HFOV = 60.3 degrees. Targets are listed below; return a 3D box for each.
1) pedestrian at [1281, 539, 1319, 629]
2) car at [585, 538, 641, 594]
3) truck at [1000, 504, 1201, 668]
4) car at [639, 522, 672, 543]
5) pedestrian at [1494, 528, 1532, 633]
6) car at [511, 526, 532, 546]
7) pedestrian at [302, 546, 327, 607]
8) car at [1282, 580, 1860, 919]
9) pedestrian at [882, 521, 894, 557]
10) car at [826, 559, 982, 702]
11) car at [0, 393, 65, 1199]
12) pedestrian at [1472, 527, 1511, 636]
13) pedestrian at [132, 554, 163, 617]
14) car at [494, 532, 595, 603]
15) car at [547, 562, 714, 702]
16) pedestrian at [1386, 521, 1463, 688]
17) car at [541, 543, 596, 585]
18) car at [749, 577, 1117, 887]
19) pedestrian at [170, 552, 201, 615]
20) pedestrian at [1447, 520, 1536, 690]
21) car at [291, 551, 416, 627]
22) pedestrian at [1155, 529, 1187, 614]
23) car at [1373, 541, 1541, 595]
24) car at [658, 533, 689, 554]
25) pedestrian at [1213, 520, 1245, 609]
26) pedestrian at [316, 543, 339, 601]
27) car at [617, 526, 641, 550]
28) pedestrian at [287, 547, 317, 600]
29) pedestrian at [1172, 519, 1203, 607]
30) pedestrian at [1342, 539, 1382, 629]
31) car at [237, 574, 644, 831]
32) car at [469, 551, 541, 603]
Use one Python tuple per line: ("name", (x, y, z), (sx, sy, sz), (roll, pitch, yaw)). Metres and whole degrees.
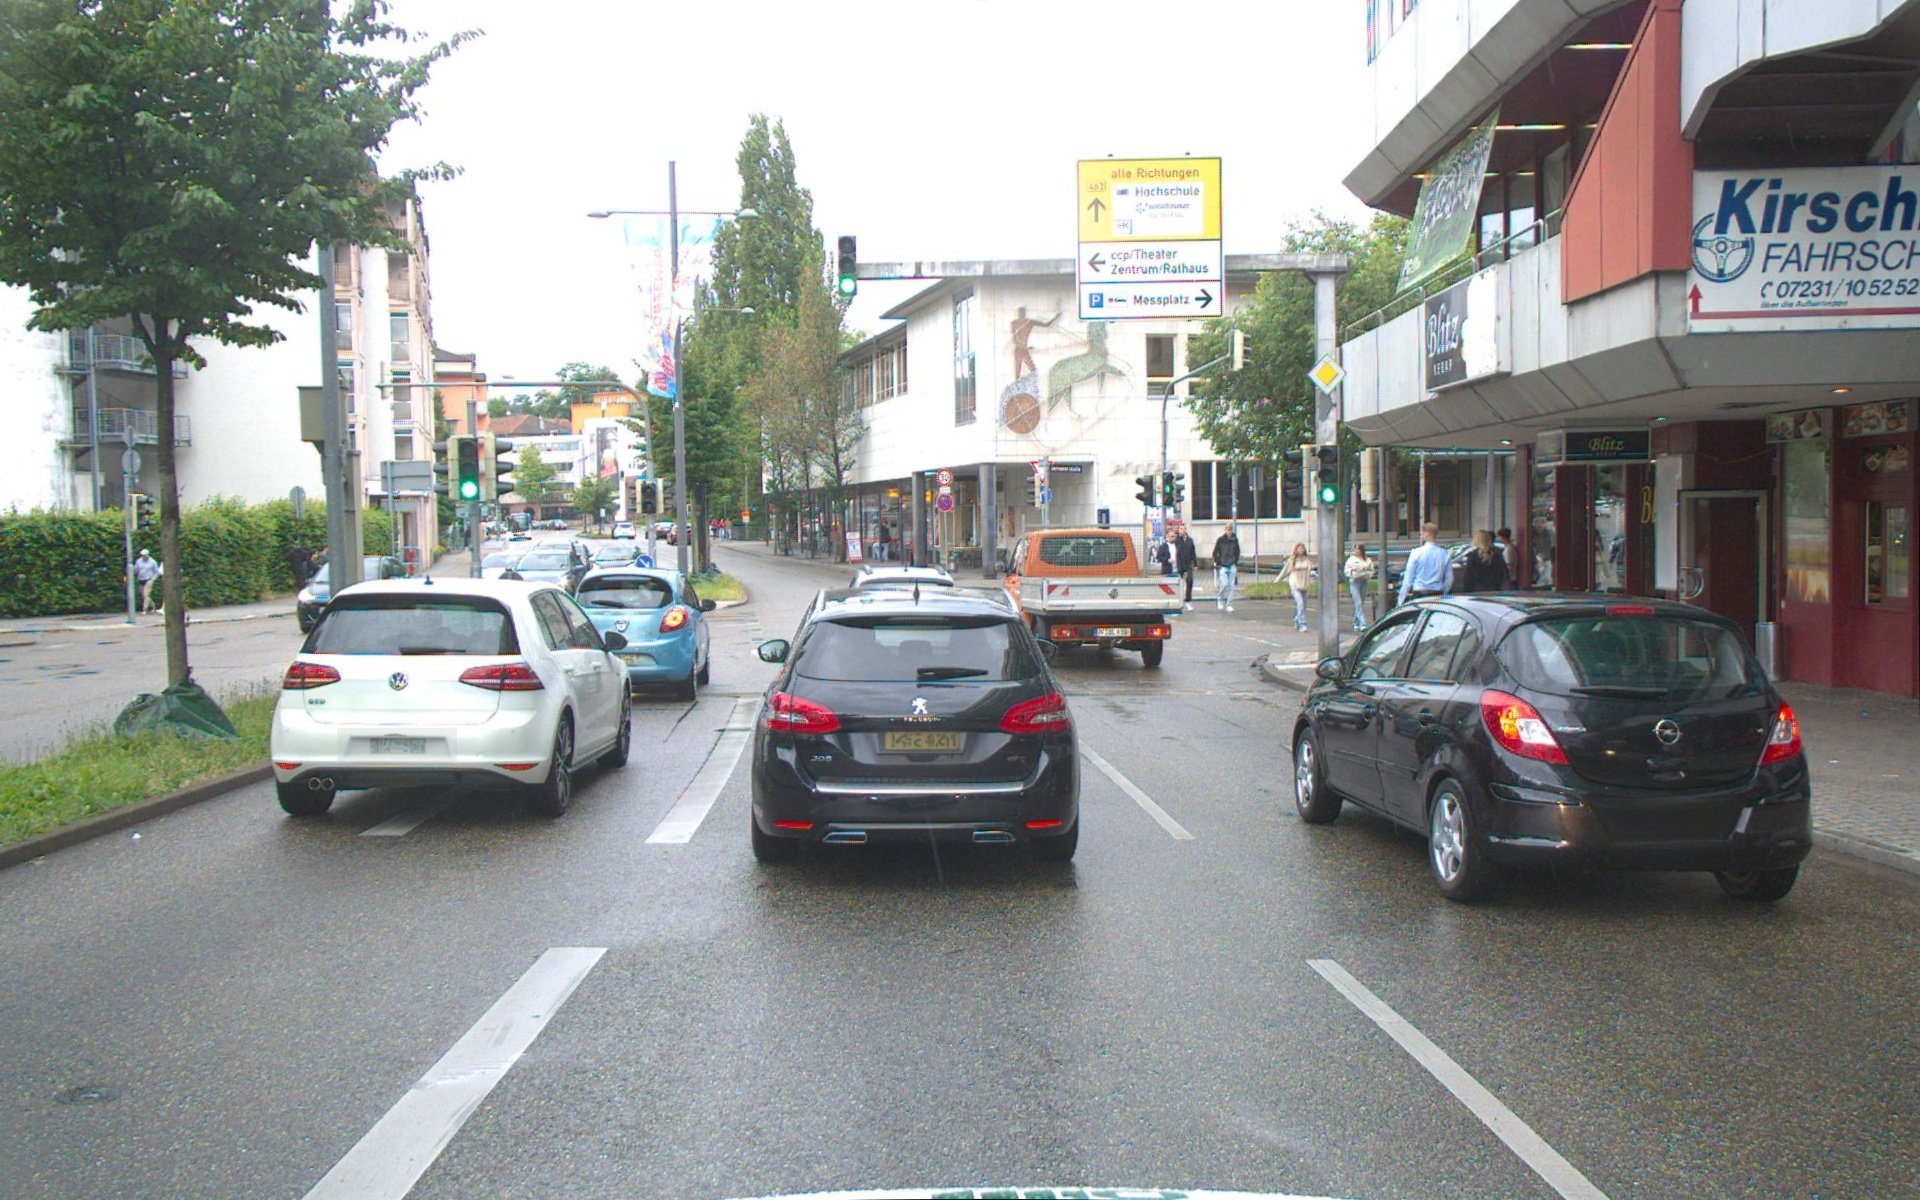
("pedestrian", (6.453, -0.292, 31.434), (0.623, 1.688, 0.734), (1, -1, 6))
("car", (-11.258, -1.058, 53.848), (1.713, 1.669, 3.989), (1, -1, -11))
("truck", (1.983, -0.253, 24.976), (2.135, 2.210, 5.015), (1, 2, -6))
("car", (-26.145, -5.781, 141.864), (1.703, 1.516, 4.696), (1, -1, -24))
("pedestrian", (8.925, -0.303, 26.707), (0.388, 1.668, 0.504), (-1, -1, 0))
("car", (-50.889, -7.375, 191.875), (1.964, 2.049, 3.976), (1, -1, -20))
("pedestrian", (-19.365, -0.696, 49.622), (0.529, 1.778, 0.746), (1, -1, -9))
("car", (3.072, 0.638, 9.195), (1.584, 1.454, 3.839), (1, 1, -4))
("pedestrian", (-3.594, -3.043, 82.581), (0.461, 1.778, 0.537), (1, -1, -21))
("car", (-0.633, 0.280, 19.694), (1.662, 1.512, 3.793), (1, 1, -1))
("car", (-3.016, 0.446, 1.383), (1.873, 1.903, 5.071), (1, -1, -2))
("pedestrian", (8.484, -0.297, 26.387), (0.417, 1.712, 0.450), (-1, -1, -2))
("pedestrian", (-21.324, -0.367, 43.405), (0.569, 1.627, 0.526), (1, -1, -7))
("car", (-10.210, -0.765, 40.896), (1.710, 1.607, 3.996), (1, -1, -4))
("car", (-3.874, 0.313, 19.933), (1.601, 1.512, 3.606), (1, 1, -6))
("pedestrian", (5.577, 0.054, 19.878), (0.721, 1.968, 0.640), (1, -1, -1))
("car", (-14.782, -1.382, 62.560), (1.602, 1.512, 3.605), (1, 2, -7))
("car", (-0.221, 0.612, 9.825), (1.742, 1.454, 3.840), (1, 1, -3))
("pedestrian", (-20.394, -0.431, 43.582), (0.569, 1.627, 0.526), (1, -1, -7))
("pedestrian", (6.389, 0.062, 19.906), (0.721, 1.968, 0.640), (-4, -1, -1))
("car", (-12.933, -0.272, 35.453), (1.543, 1.512, 3.607), (1, 1, -4))
("pedestrian", (4.506, -0.599, 35.349), (0.623, 1.788, 0.734), (1, -1, 6))
("car", (12.084, -0.769, 40.418), (3.610, 1.233, 1.836), (1, -1, 3))
("car", (-21.804, -4.293, 125.652), (1.759, 1.479, 4.486), (-3, 3, -17))
("pedestrian", (5.963, -0.776, 36.675), (0.623, 1.930, 0.734), (1, -1, 6))
("pedestrian", (-19.635, -0.856, 51.351), (0.528, 1.778, 0.564), (1, -1, -6))
("car", (-29.553, -5.490, 147.629), (1.679, 1.915, 3.980), (1, -1, -18))
("pedestrian", (-20.887, -0.837, 52.508), (0.624, 1.671, 0.734), (1, -1, 2))
("pedestrian", (5.044, -0.817, 36.700), (0.623, 1.930, 0.734), (1, -1, 6))
("pedestrian", (7.610, -0.294, 31.329), (0.623, 1.688, 0.734), (1, -1, 6))
("car", (-3.345, 0.562, 11.417), (1.742, 1.454, 3.840), (1, 1, -3))
("car", (-13.992, -0.733, 51.054), (1.602, 1.512, 3.605), (1, 2, -7))
